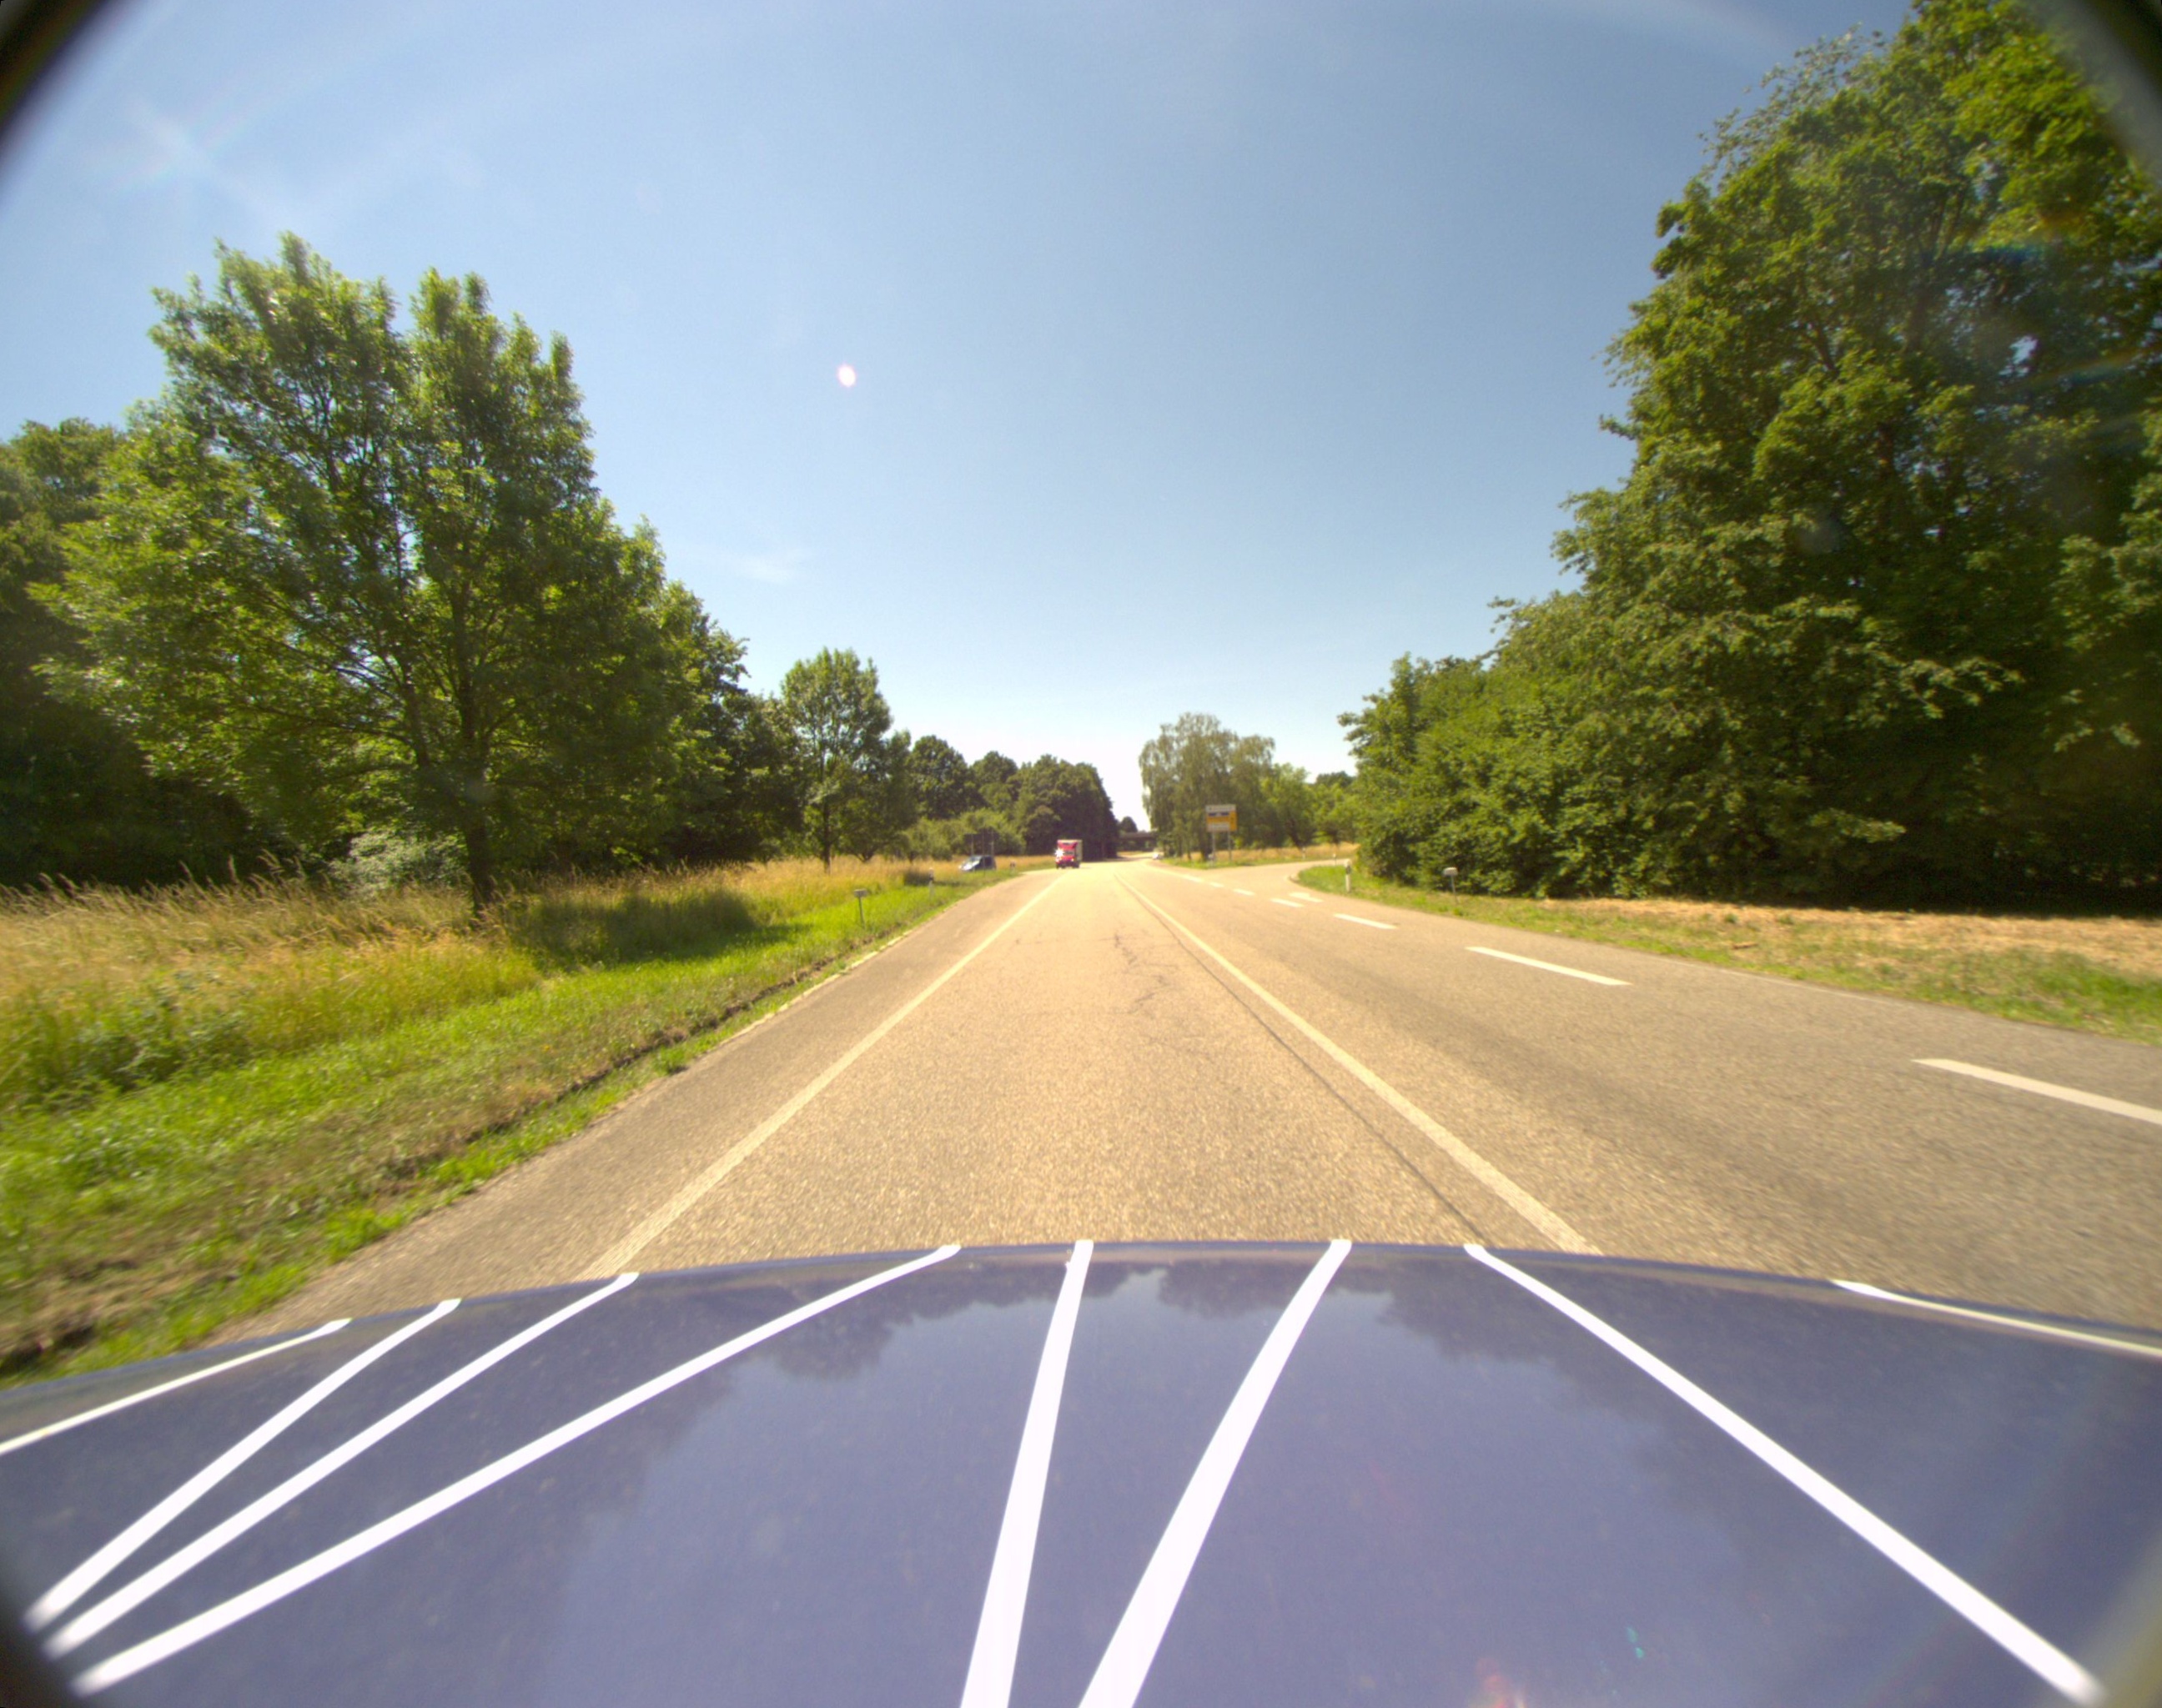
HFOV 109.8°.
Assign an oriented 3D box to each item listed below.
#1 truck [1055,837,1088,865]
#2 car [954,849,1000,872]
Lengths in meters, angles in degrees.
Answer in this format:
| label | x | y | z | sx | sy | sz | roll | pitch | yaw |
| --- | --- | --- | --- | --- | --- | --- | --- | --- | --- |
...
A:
| label | x | y | z | sx | sy | sz | roll | pitch | yaw |
| --- | --- | --- | --- | --- | --- | --- | --- | --- | --- |
| truck | -0.969 | -0.398 | 85.742 | 2.456 | 2.927 | 6.978 | -1 | 1 | 9 |
| car | -8.649 | 0.508 | 63.436 | 1.743 | 1.833 | 4.007 | 0 | 1 | 27 |
